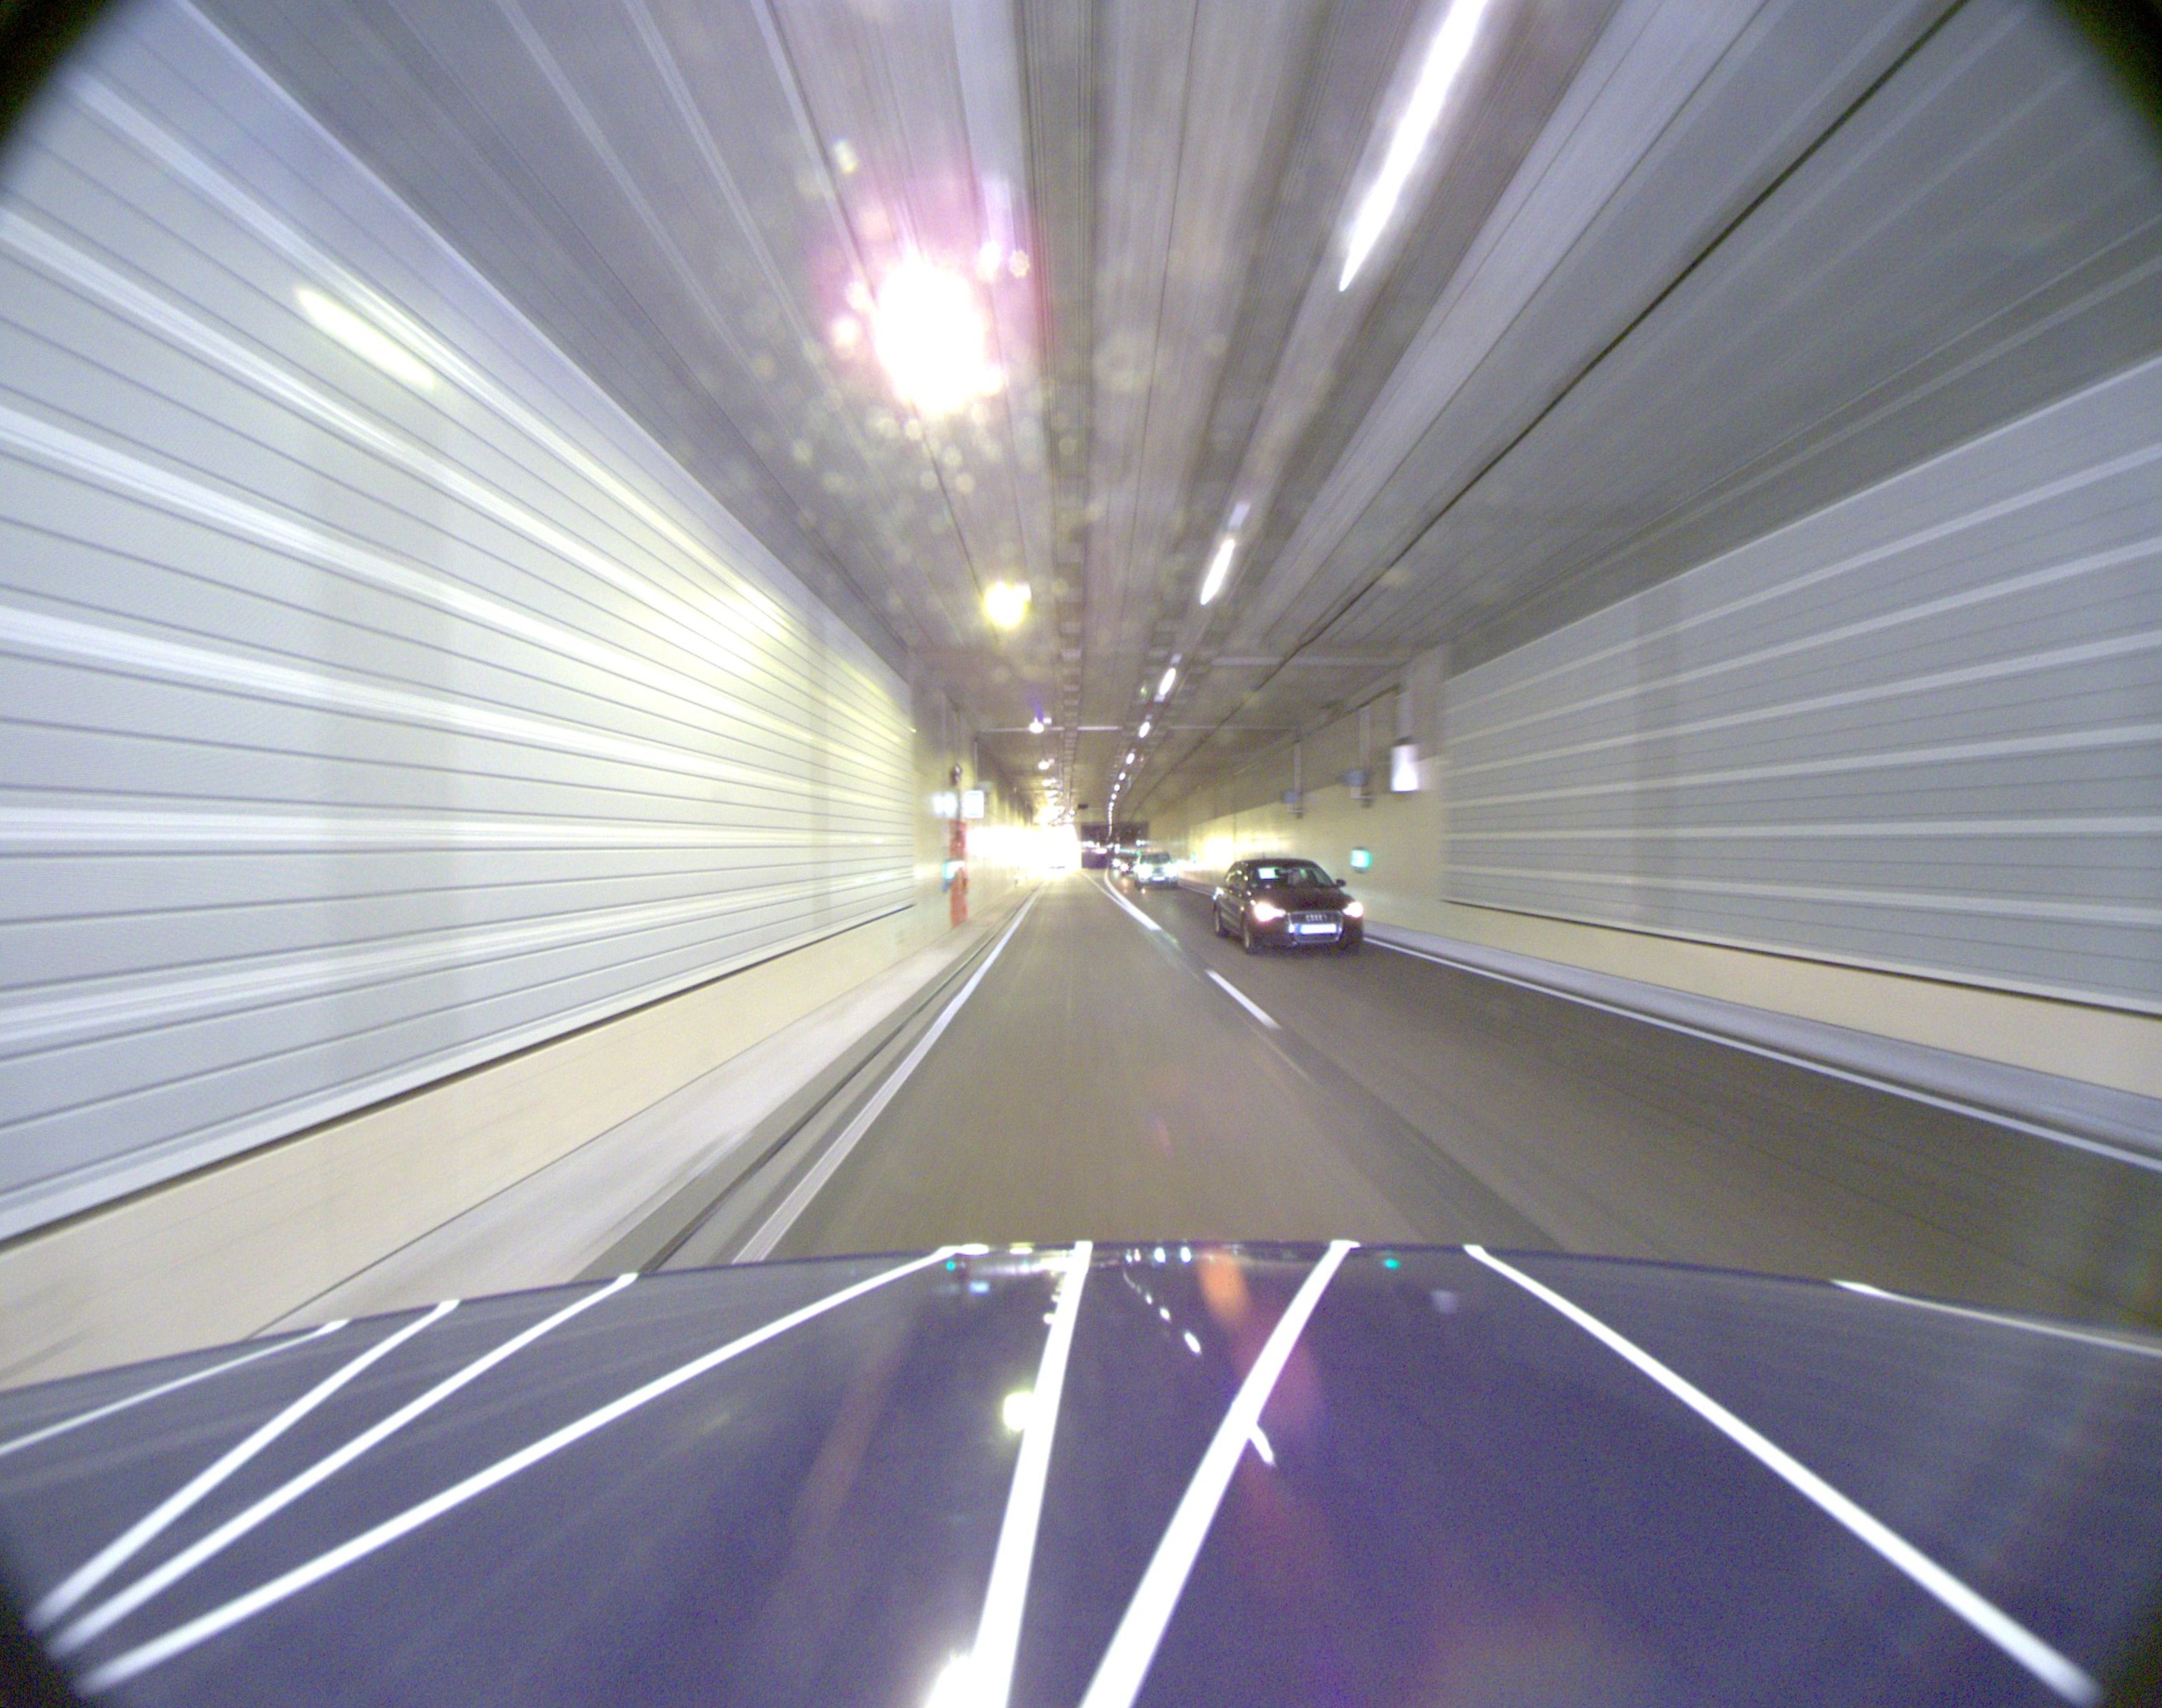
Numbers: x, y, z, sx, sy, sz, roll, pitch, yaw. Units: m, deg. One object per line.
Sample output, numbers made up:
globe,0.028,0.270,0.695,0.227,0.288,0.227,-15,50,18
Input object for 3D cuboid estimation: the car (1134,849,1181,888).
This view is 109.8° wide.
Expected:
car,3.448,0.646,34.780,1.854,1.658,3.971,-1,-1,2

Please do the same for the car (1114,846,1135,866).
car,4.674,0.204,82.624,1.998,2.002,3.999,-2,1,0

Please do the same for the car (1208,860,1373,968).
car,3.243,0.853,12.545,1.699,1.410,3.888,-2,0,1

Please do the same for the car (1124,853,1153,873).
car,4.308,0.676,57.844,1.998,1.407,4.001,-2,-1,2

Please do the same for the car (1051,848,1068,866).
car,-2.534,0.361,91.502,1.785,2.002,3.909,-2,1,1
